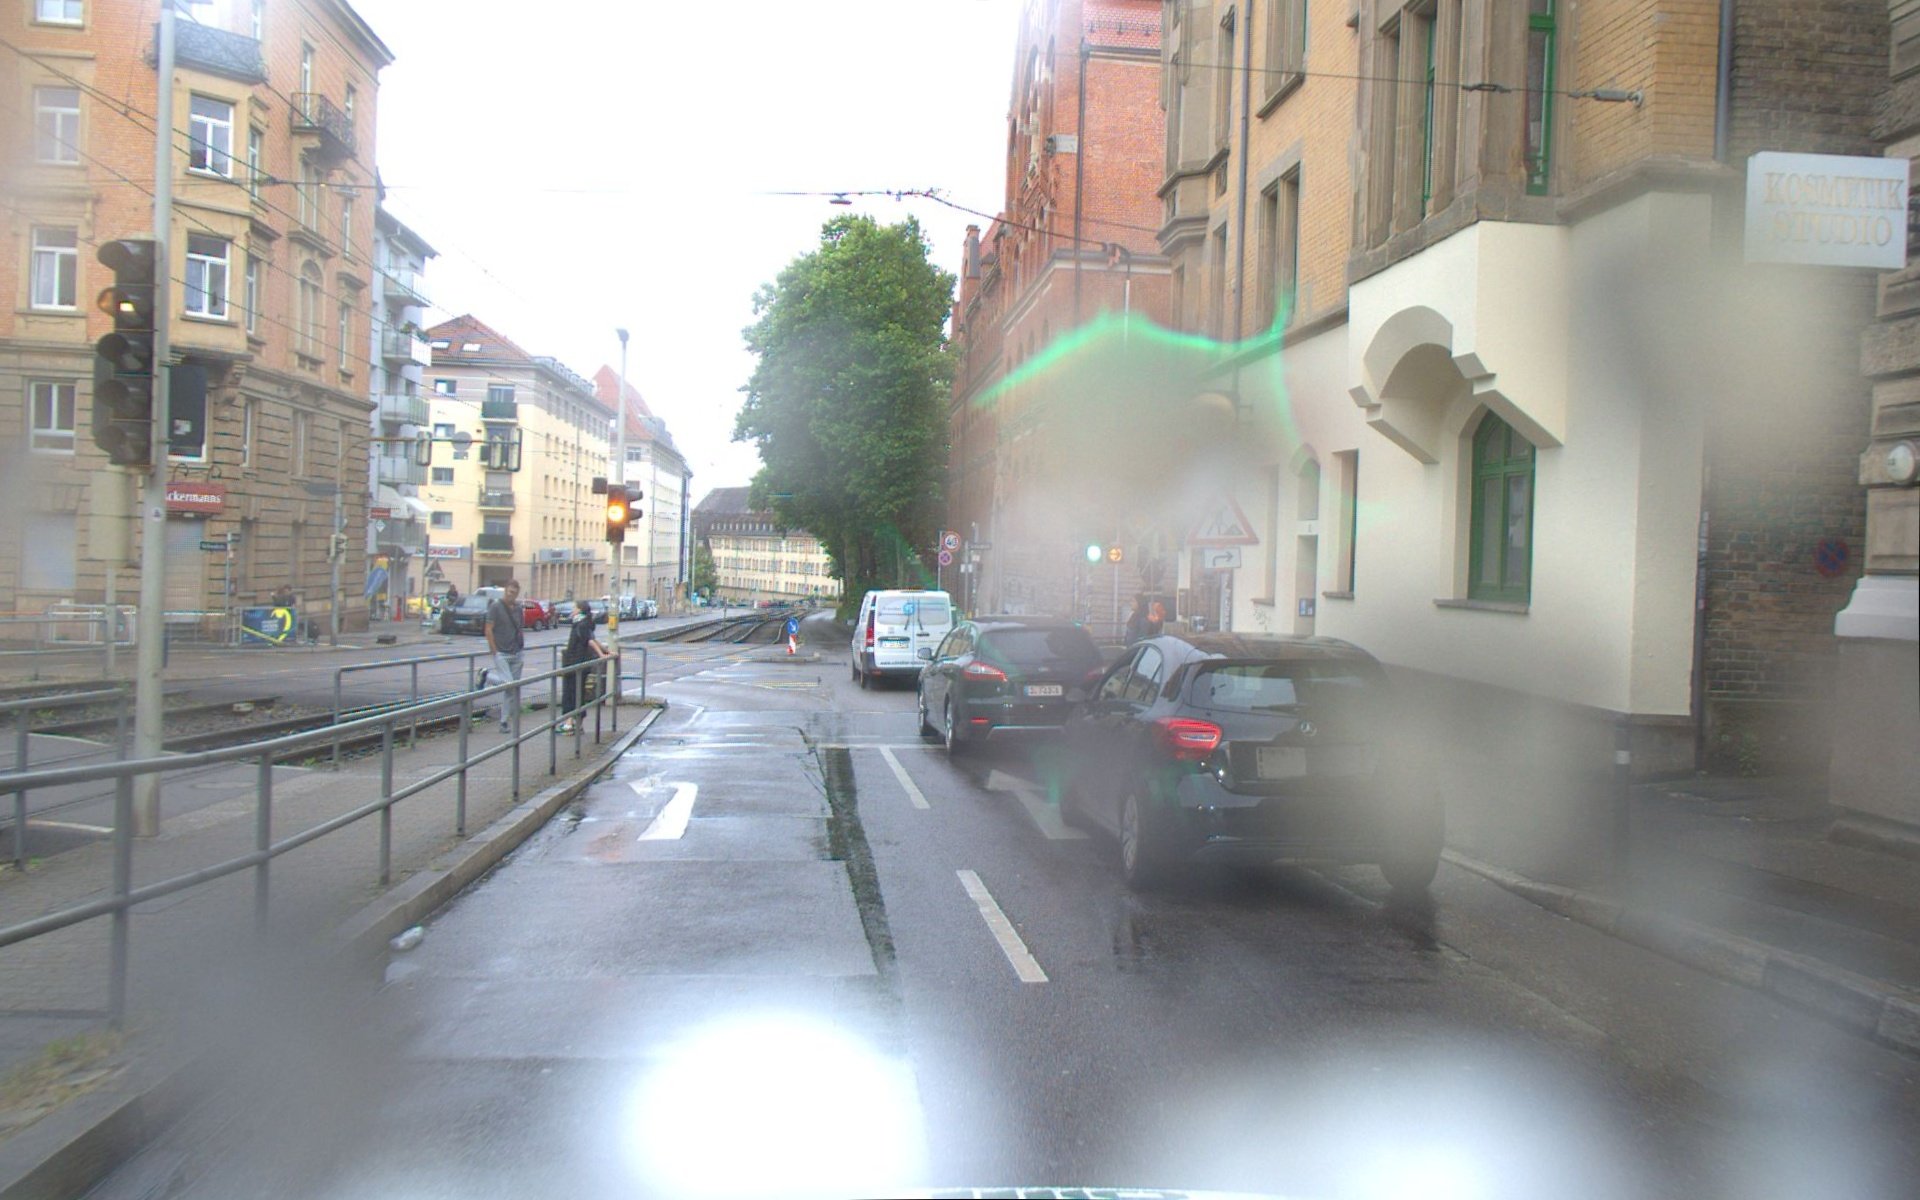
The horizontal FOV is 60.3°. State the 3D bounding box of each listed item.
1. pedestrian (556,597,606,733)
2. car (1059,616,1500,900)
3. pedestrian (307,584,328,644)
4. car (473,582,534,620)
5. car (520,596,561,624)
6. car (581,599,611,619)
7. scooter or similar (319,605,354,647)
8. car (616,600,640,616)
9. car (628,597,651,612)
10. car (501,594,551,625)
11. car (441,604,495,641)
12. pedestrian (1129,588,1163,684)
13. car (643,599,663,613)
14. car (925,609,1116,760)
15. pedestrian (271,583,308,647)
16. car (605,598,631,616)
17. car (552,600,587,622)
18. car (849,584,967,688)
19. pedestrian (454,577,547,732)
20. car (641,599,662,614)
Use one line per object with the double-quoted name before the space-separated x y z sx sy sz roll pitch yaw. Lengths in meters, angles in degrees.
"pedestrian" -4.437 0.756 19.398 0.522 1.557 0.435 2 -1 -13
"car" 1.784 0.845 10.586 1.857 1.414 3.998 1 0 -3
"pedestrian" -18.332 0.396 47.172 0.510 1.695 0.474 1 -1 -20
"car" -20.219 0.046 73.433 1.751 1.557 4.458 2 0 -4
"car" -21.328 0.504 84.106 1.470 1.380 3.159 2 0 -4
"car" -23.251 0.585 105.739 1.368 1.191 3.159 2 0 -4
"scooter or similar" -17.852 0.757 47.372 0.915 1.183 0.334 1 0 -21
"car" -24.814 0.597 123.619 1.368 1.191 3.159 2 0 -4
"car" -25.670 0.354 132.585 1.368 1.191 3.159 2 0 -4
"car" -20.925 0.457 79.892 1.647 1.380 3.699 2 0 -4
"car" -19.901 0.894 67.002 1.424 1.341 3.291 3 0 -6
"pedestrian" 2.552 0.496 22.681 0.404 1.293 0.292 2 -1 1
"car" -26.895 0.507 145.075 1.368 1.191 3.159 2 0 -4
"car" 0.574 0.880 19.019 1.680 1.494 4.277 2 0 -5
"pedestrian" -17.944 0.409 44.260 0.664 1.690 0.676 1 -1 1
"car" -24.166 0.490 116.980 1.368 1.191 3.159 2 0 -4
"car" -21.867 0.610 92.675 1.409 1.126 3.159 2 0 -4
"car" -1.103 0.670 32.800 1.896 1.863 4.274 2 0 -7
"pedestrian" -5.387 0.627 19.407 0.728 1.754 0.736 1 -1 42
"car" -26.209 0.551 140.632 1.368 1.191 3.159 2 0 -4
